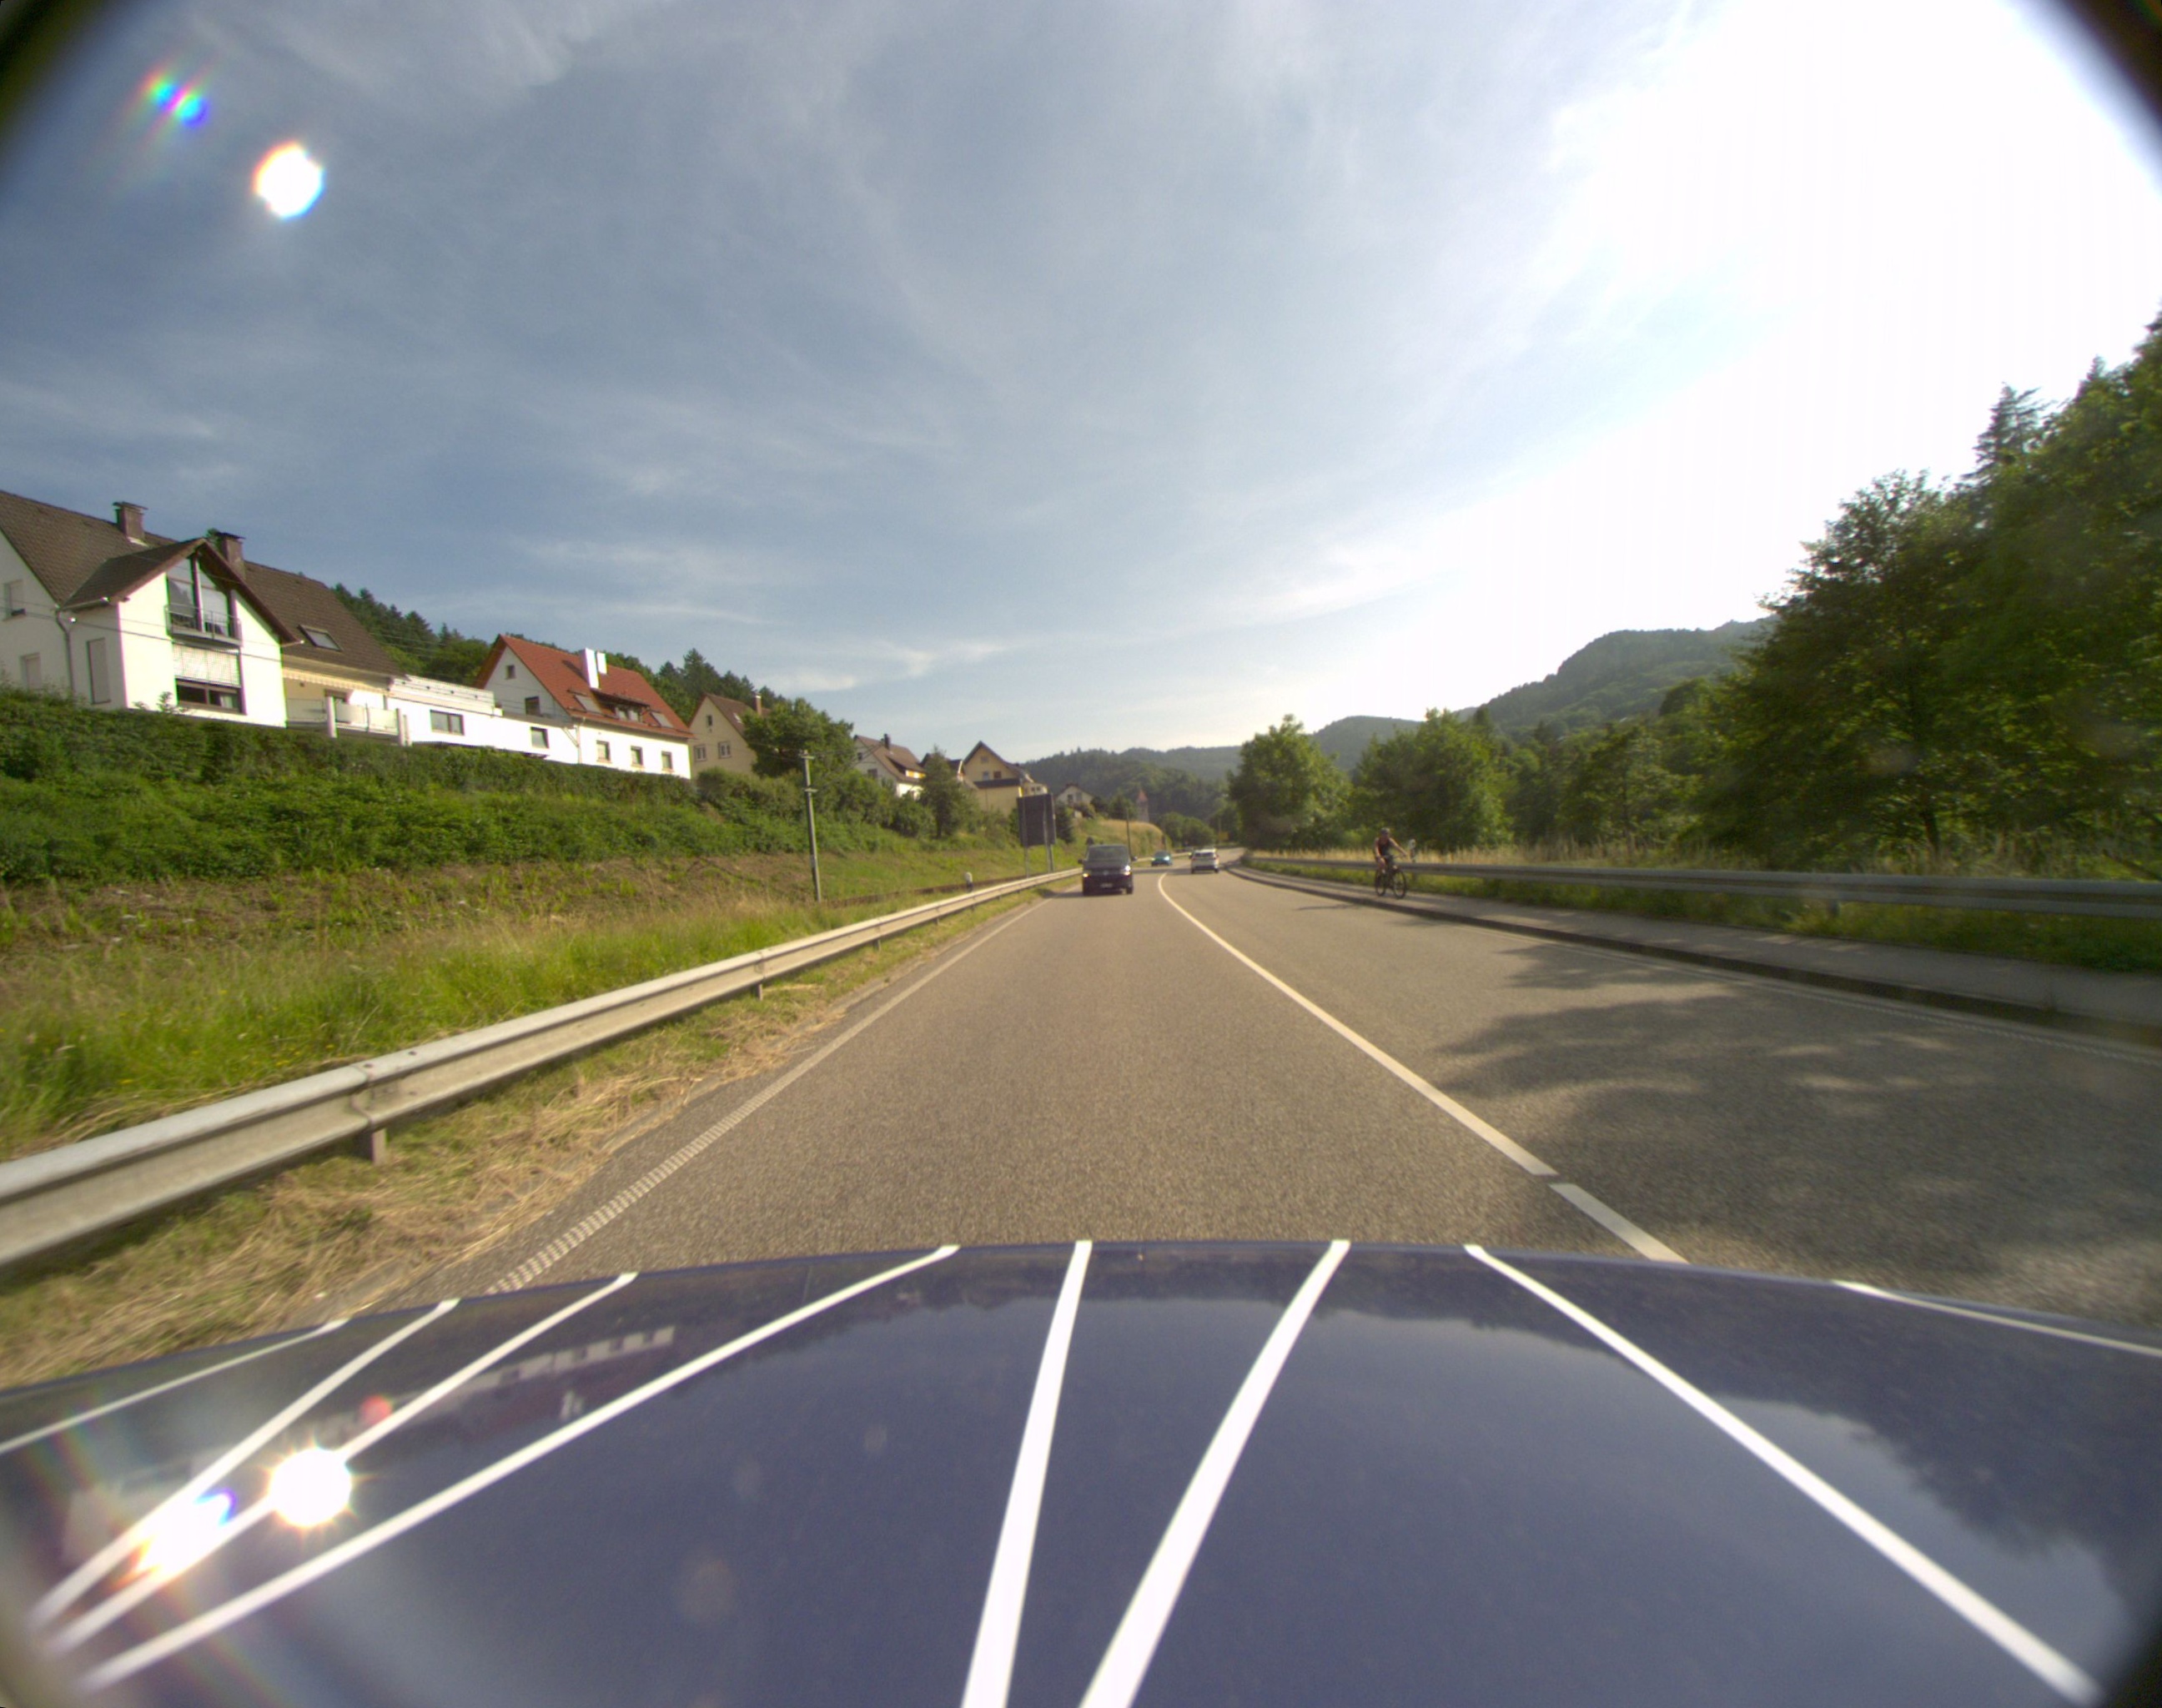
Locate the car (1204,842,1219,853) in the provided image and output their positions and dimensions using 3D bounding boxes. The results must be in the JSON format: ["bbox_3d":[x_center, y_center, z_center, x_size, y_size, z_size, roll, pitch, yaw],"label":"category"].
[{"bbox_3d":[21.183,-1.058,123.160,1.883,1.735,4.183,-3,0,16],"label":"car"}]

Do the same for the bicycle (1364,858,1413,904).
[{"bbox_3d":[7.835,0.669,19.444,0.558,1.039,2.231,-7,-1,9],"label":"bicycle"}]

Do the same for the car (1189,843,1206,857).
[{"bbox_3d":[15.963,-0.578,103.896,1.883,1.735,4.182,-3,0,14],"label":"car"}]

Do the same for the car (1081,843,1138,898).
[{"bbox_3d":[1.099,0.585,29.806,2.018,1.905,4.312,-3,0,2],"label":"car"}]

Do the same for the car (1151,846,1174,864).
[{"bbox_3d":[8.151,0.093,75.868,1.883,1.735,4.182,-2,0,11],"label":"car"}]

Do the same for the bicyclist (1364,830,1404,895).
[{"bbox_3d":[7.804,0.212,19.592,0.558,1.577,1.036,-7,0,9],"label":"bicyclist"}]

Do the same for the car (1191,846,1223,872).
[{"bbox_3d":[8.587,0.321,52.014,1.997,1.620,4.002,-2,1,9],"label":"car"}]

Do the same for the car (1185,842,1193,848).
[{"bbox_3d":[33.010,-2.746,232.852,1.582,1.470,3.998,-2,0,-5],"label":"car"}]
